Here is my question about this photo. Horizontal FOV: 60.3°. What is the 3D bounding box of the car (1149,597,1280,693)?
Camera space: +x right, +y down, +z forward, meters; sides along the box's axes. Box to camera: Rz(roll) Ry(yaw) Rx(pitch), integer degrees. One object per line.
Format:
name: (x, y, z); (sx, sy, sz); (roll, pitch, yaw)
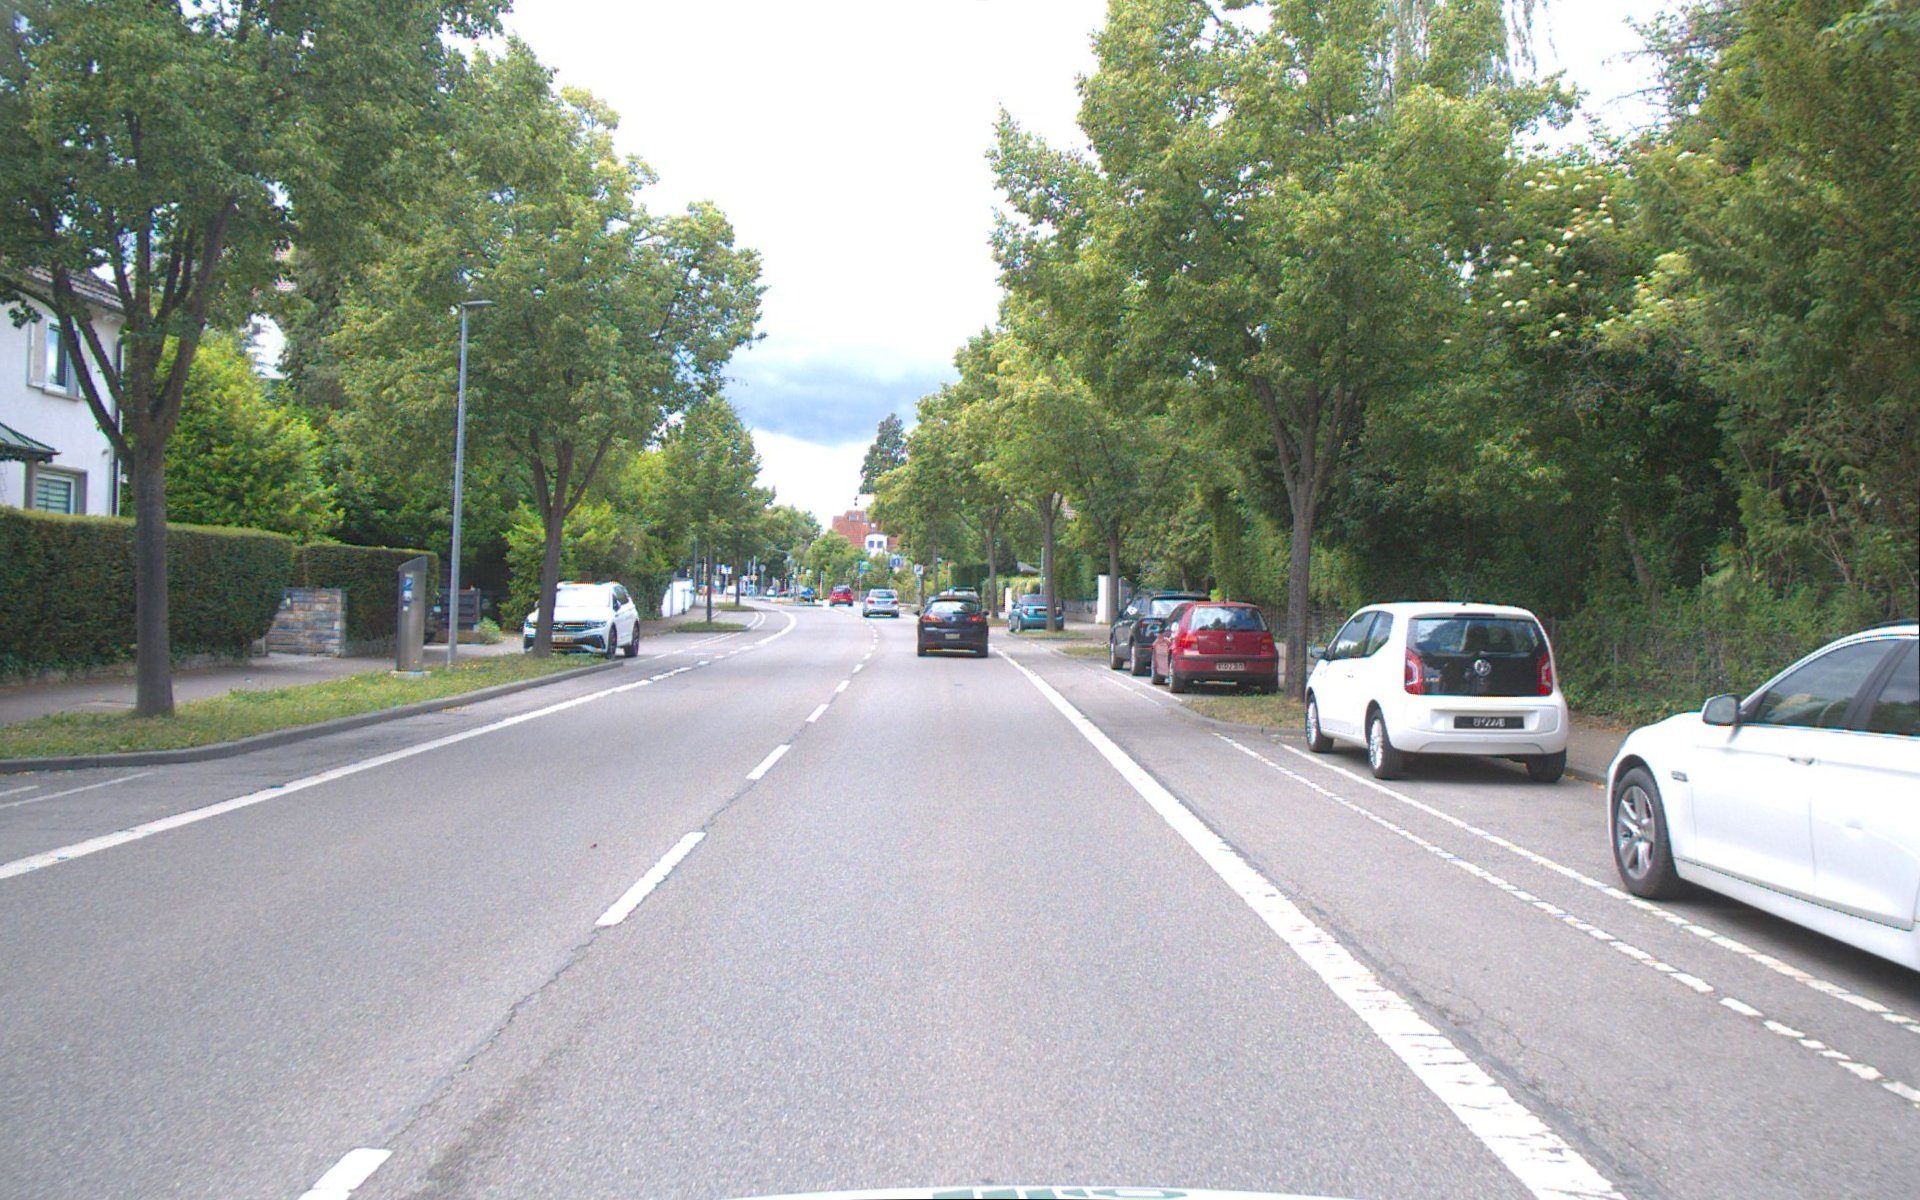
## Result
car: (4.131, 0.684, 27.351); (1.604, 1.445, 4.000); (0, 0, 1)

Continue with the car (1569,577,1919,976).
car: (4.528, 0.666, 7.054); (1.979, 1.468, 5.025); (1, 0, 0)

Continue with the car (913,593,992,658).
car: (-0.215, 0.592, 40.179); (1.747, 1.474, 3.556); (1, 0, -3)

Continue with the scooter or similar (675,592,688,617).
scooter or similar: (-13.135, 0.208, 77.923); (0.492, 1.174, 1.299); (1, 0, -6)

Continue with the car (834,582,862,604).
car: (-8.430, -0.527, 123.723); (1.955, 1.557, 3.995); (1, 0, -6)

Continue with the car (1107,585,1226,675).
car: (4.029, 0.551, 32.827); (1.605, 1.644, 4.167); (1, 0, -3)

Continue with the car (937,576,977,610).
car: (-0.186, -0.378, 89.736); (1.754, 1.802, 3.977); (1, 0, -6)

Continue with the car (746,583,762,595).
car: (-29.126, -1.550, 234.035); (1.934, 1.705, 3.874); (1, 0, -4)

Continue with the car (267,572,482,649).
car: (-12.887, 0.222, 36.602); (4.112, 1.613, 1.764); (0, 0, -1)

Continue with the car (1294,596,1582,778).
car: (4.307, 0.713, 15.452); (1.583, 1.485, 3.656); (0, 0, -1)

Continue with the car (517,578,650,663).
car: (-8.136, 0.396, 36.160); (1.835, 1.718, 4.865); (0, 0, -1)

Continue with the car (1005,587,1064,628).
car: (2.778, 0.251, 62.337); (1.650, 1.457, 4.039); (1, 0, -6)

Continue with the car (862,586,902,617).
car: (-4.215, 0.086, 88.697); (1.955, 1.585, 3.995); (0, -1, -6)

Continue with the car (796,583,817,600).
car: (-14.739, -0.798, 158.549); (1.955, 1.534, 3.995); (2, 0, -6)
